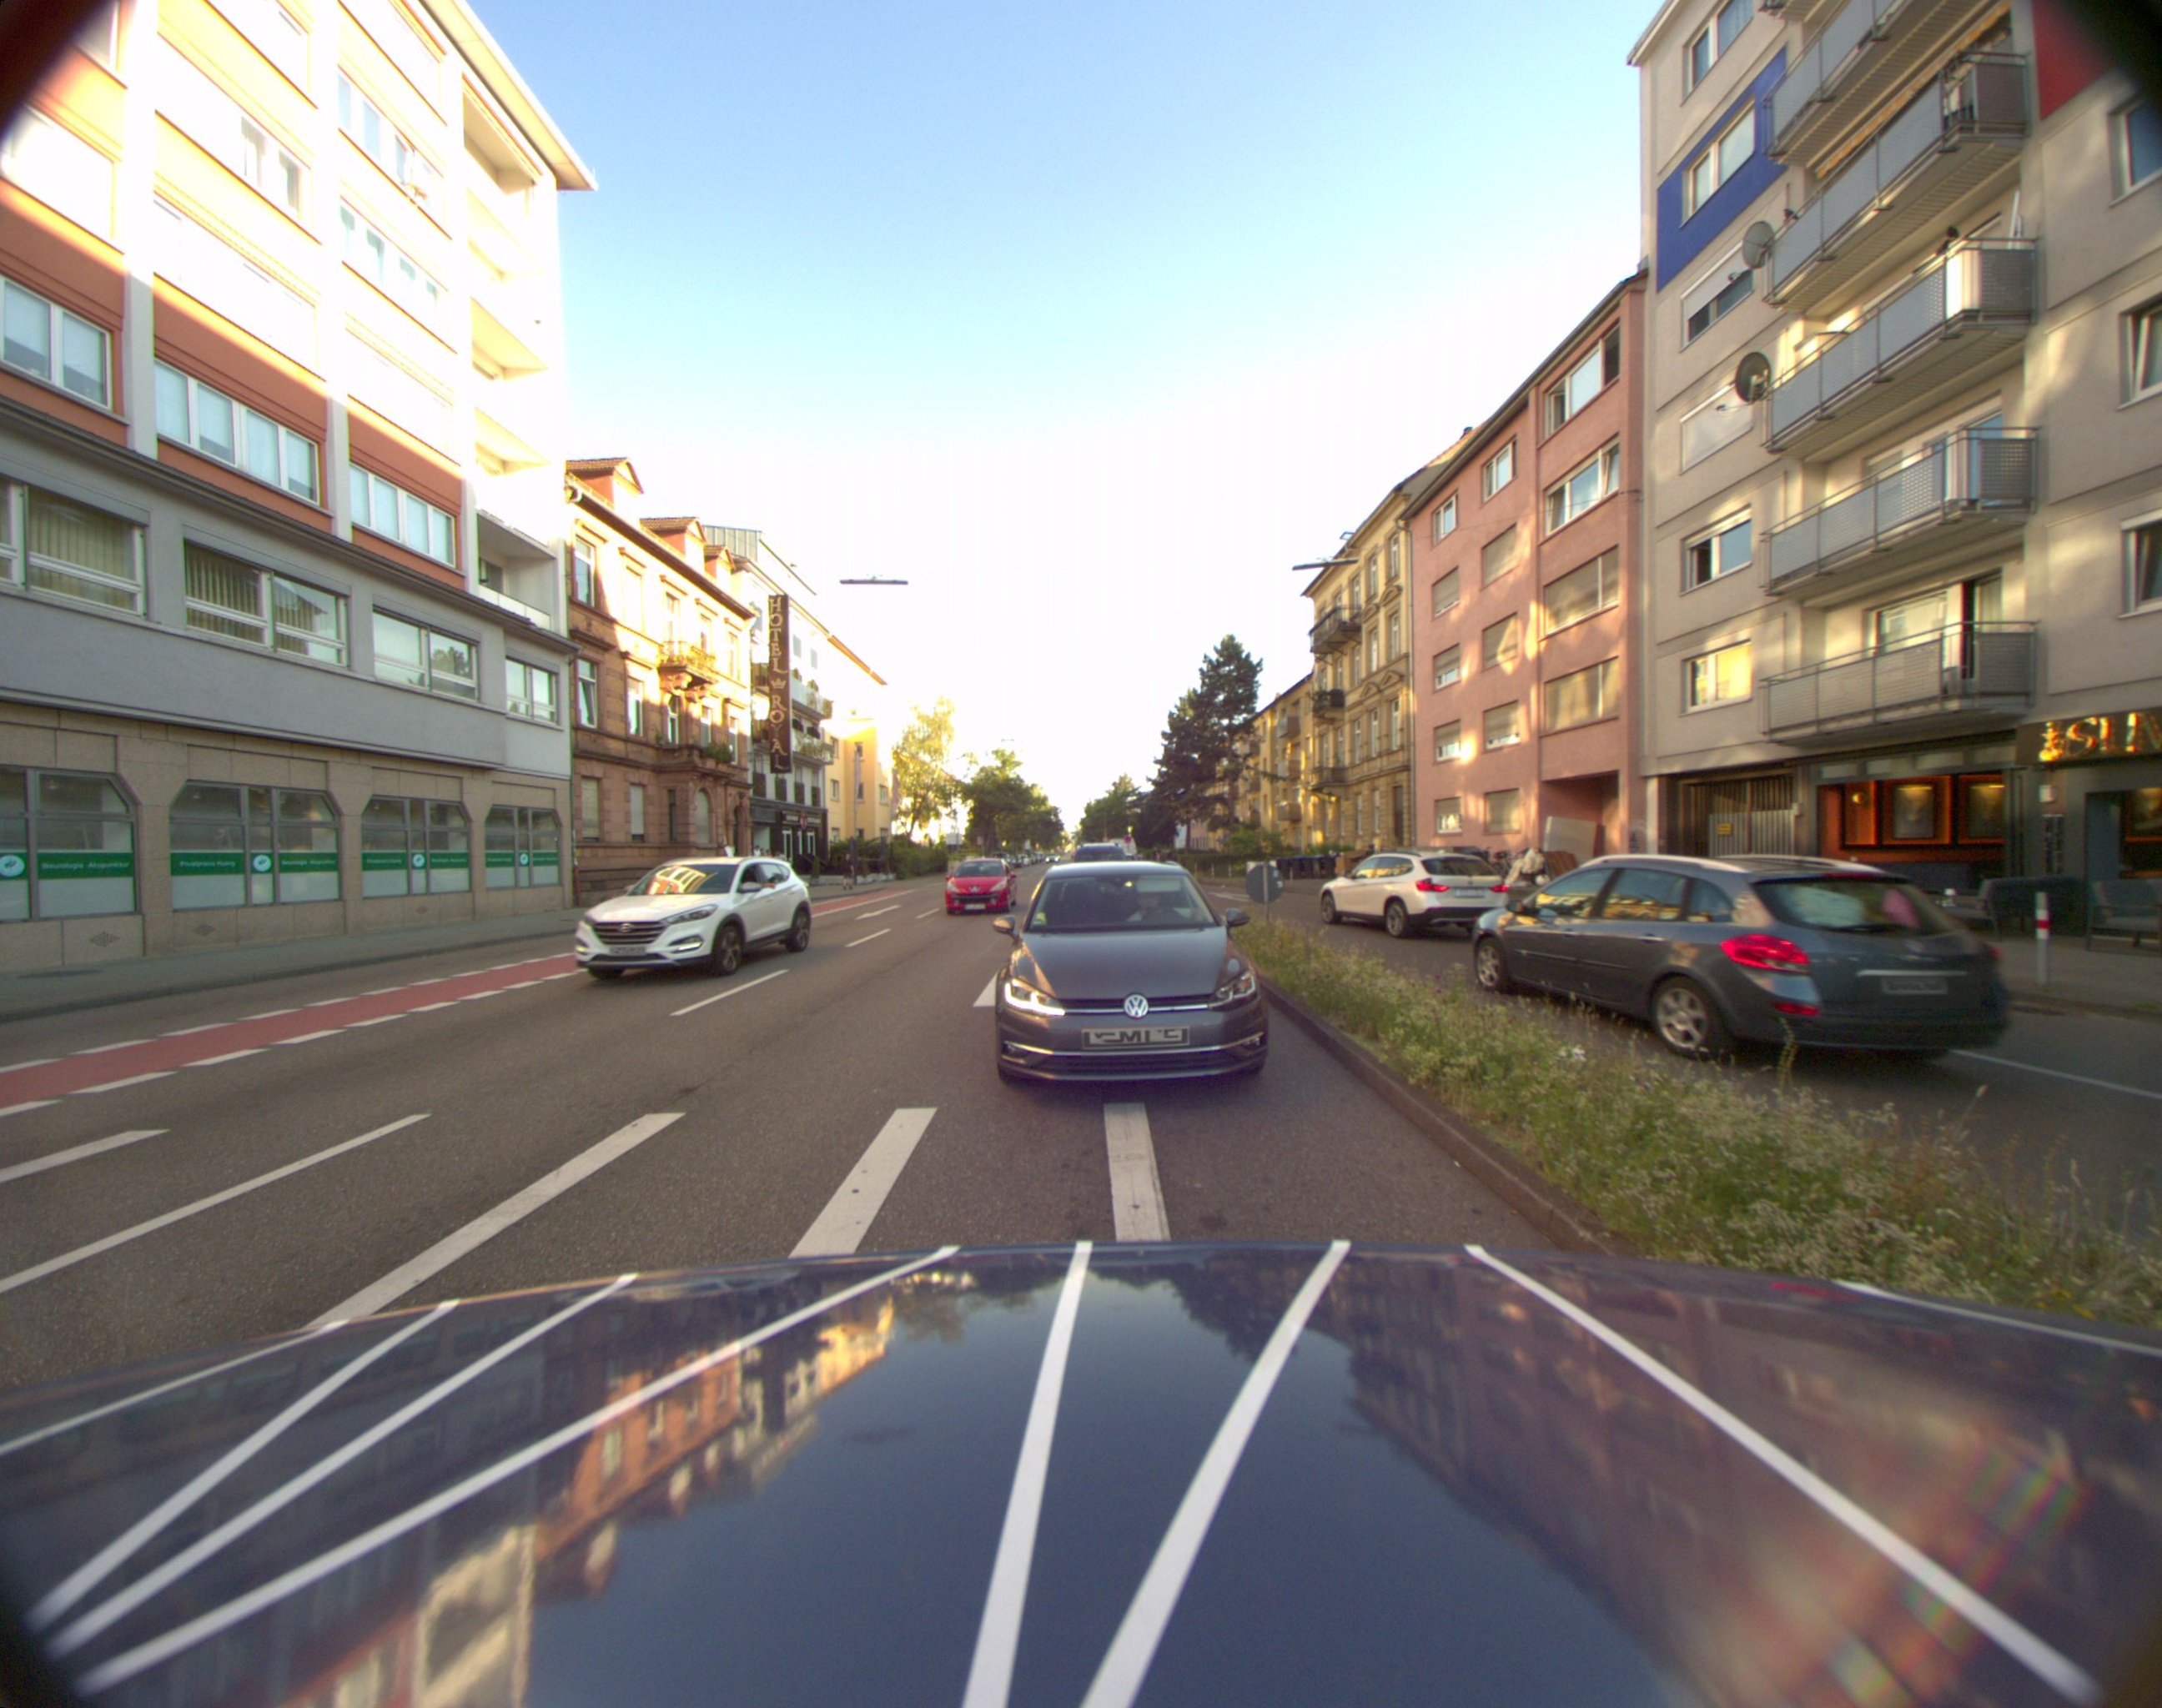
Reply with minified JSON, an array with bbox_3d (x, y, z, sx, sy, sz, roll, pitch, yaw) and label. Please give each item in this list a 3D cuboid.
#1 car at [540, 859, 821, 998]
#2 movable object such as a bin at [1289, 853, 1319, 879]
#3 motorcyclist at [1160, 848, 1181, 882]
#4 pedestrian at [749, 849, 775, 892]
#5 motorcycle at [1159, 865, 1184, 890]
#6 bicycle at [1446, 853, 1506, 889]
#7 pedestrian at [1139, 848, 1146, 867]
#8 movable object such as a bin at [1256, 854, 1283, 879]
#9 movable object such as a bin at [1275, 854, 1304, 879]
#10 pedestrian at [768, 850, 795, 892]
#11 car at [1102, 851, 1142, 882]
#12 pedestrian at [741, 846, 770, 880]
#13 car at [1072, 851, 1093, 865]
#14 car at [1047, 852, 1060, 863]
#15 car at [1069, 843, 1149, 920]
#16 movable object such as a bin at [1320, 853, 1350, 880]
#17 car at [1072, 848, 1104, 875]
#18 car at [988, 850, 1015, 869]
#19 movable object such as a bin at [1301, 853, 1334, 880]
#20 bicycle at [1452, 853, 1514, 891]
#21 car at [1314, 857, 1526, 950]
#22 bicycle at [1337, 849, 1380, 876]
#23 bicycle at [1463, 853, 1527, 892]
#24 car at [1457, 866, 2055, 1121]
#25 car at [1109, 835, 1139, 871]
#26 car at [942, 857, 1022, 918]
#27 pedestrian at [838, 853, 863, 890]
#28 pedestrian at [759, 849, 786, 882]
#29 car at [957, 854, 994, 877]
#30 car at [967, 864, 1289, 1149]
[{"bbox_3d":[-5.736,0.947,11.635,1.921,1.598,4.269,-2,1,1],"label":"car"},{"bbox_3d":[10.853,0.596,36.979,1.196,1.225,0.847,-2,1,-40],"label":"movable object such as a bin"},{"bbox_3d":[3.777,0.451,31.978,0.750,1.433,0.958,0,1,-1],"label":"motorcyclist"},{"bbox_3d":[-13.082,0.661,31.194,0.668,1.716,1.010,-1,1,-5],"label":"pedestrian"},{"bbox_3d":[3.792,0.964,31.996,0.750,0.957,2.048,0,0,-1],"label":"motorcycle"},{"bbox_3d":[13.244,0.567,25.465,1.780,1.184,0.473,-1,1,-2],"label":"bicycle"},{"bbox_3d":[5.052,0.281,62.350,0.577,1.591,0.481,-1,1,1],"label":"pedestrian"},{"bbox_3d":[9.461,0.636,38.180,0.847,1.225,1.196,0,1,42],"label":"movable object such as a bin"},{"bbox_3d":[10.325,0.608,37.684,1.196,1.225,0.847,-2,1,-40],"label":"movable object such as a bin"},{"bbox_3d":[-12.295,0.685,31.210,0.668,1.716,1.011,-1,1,-2],"label":"pedestrian"},{"bbox_3d":[2.136,0.636,40.234,1.596,1.533,3.402,0,1,-6],"label":"car"},{"bbox_3d":[-15.783,0.456,36.892,1.008,1.579,0.789,4,1,30],"label":"pedestrian"},{"bbox_3d":[0.138,0.417,77.958,1.895,1.382,4.267,0,0,-2],"label":"car"},{"bbox_3d":[-4.492,0.542,123.096,1.907,1.532,3.999,-1,1,0],"label":"car"},{"bbox_3d":[0.668,0.641,20.384,1.895,1.843,4.466,0,1,0],"label":"car"},{"bbox_3d":[11.818,0.578,35.339,1.196,1.225,0.847,-2,1,-40],"label":"movable object such as a bin"},{"bbox_3d":[0.444,0.474,54.505,1.896,1.843,4.698,0,1,-4],"label":"car"},{"bbox_3d":[-7.163,0.451,68.906,1.947,1.615,4.193,-1,0,0],"label":"car"},{"bbox_3d":[11.244,0.590,36.085,1.295,1.225,0.926,-2,1,-40],"label":"movable object such as a bin"},{"bbox_3d":[13.163,0.577,24.885,1.780,1.184,0.473,-1,1,-2],"label":"bicycle"},{"bbox_3d":[6.164,0.809,14.454,1.758,1.479,4.245,0,0,-7],"label":"car"},{"bbox_3d":[12.734,0.371,34.854,1.780,1.184,0.473,-1,1,-2],"label":"bicycle"},{"bbox_3d":[13.142,0.579,24.152,1.780,1.184,0.473,-1,1,-2],"label":"bicycle"},{"bbox_3d":[5.029,0.869,6.543,1.596,1.462,3.985,0,0,0],"label":"car"},{"bbox_3d":[3.412,-0.084,61.260,2.136,2.740,4.465,0,1,0],"label":"car"},{"bbox_3d":[-2.712,0.869,21.639,1.674,1.454,3.999,-2,1,1],"label":"car"},{"bbox_3d":[-10.539,0.787,34.701,0.738,1.593,1.011,2,1,4],"label":"pedestrian"},{"bbox_3d":[-15.232,0.563,37.507,1.008,1.579,0.740,4,1,31],"label":"pedestrian"},{"bbox_3d":[-7.276,0.748,52.880,1.905,1.508,4.074,-1,0,1],"label":"car"},{"bbox_3d":[0.295,0.900,6.445,1.770,1.450,4.269,-2,1,1],"label":"car"}]
